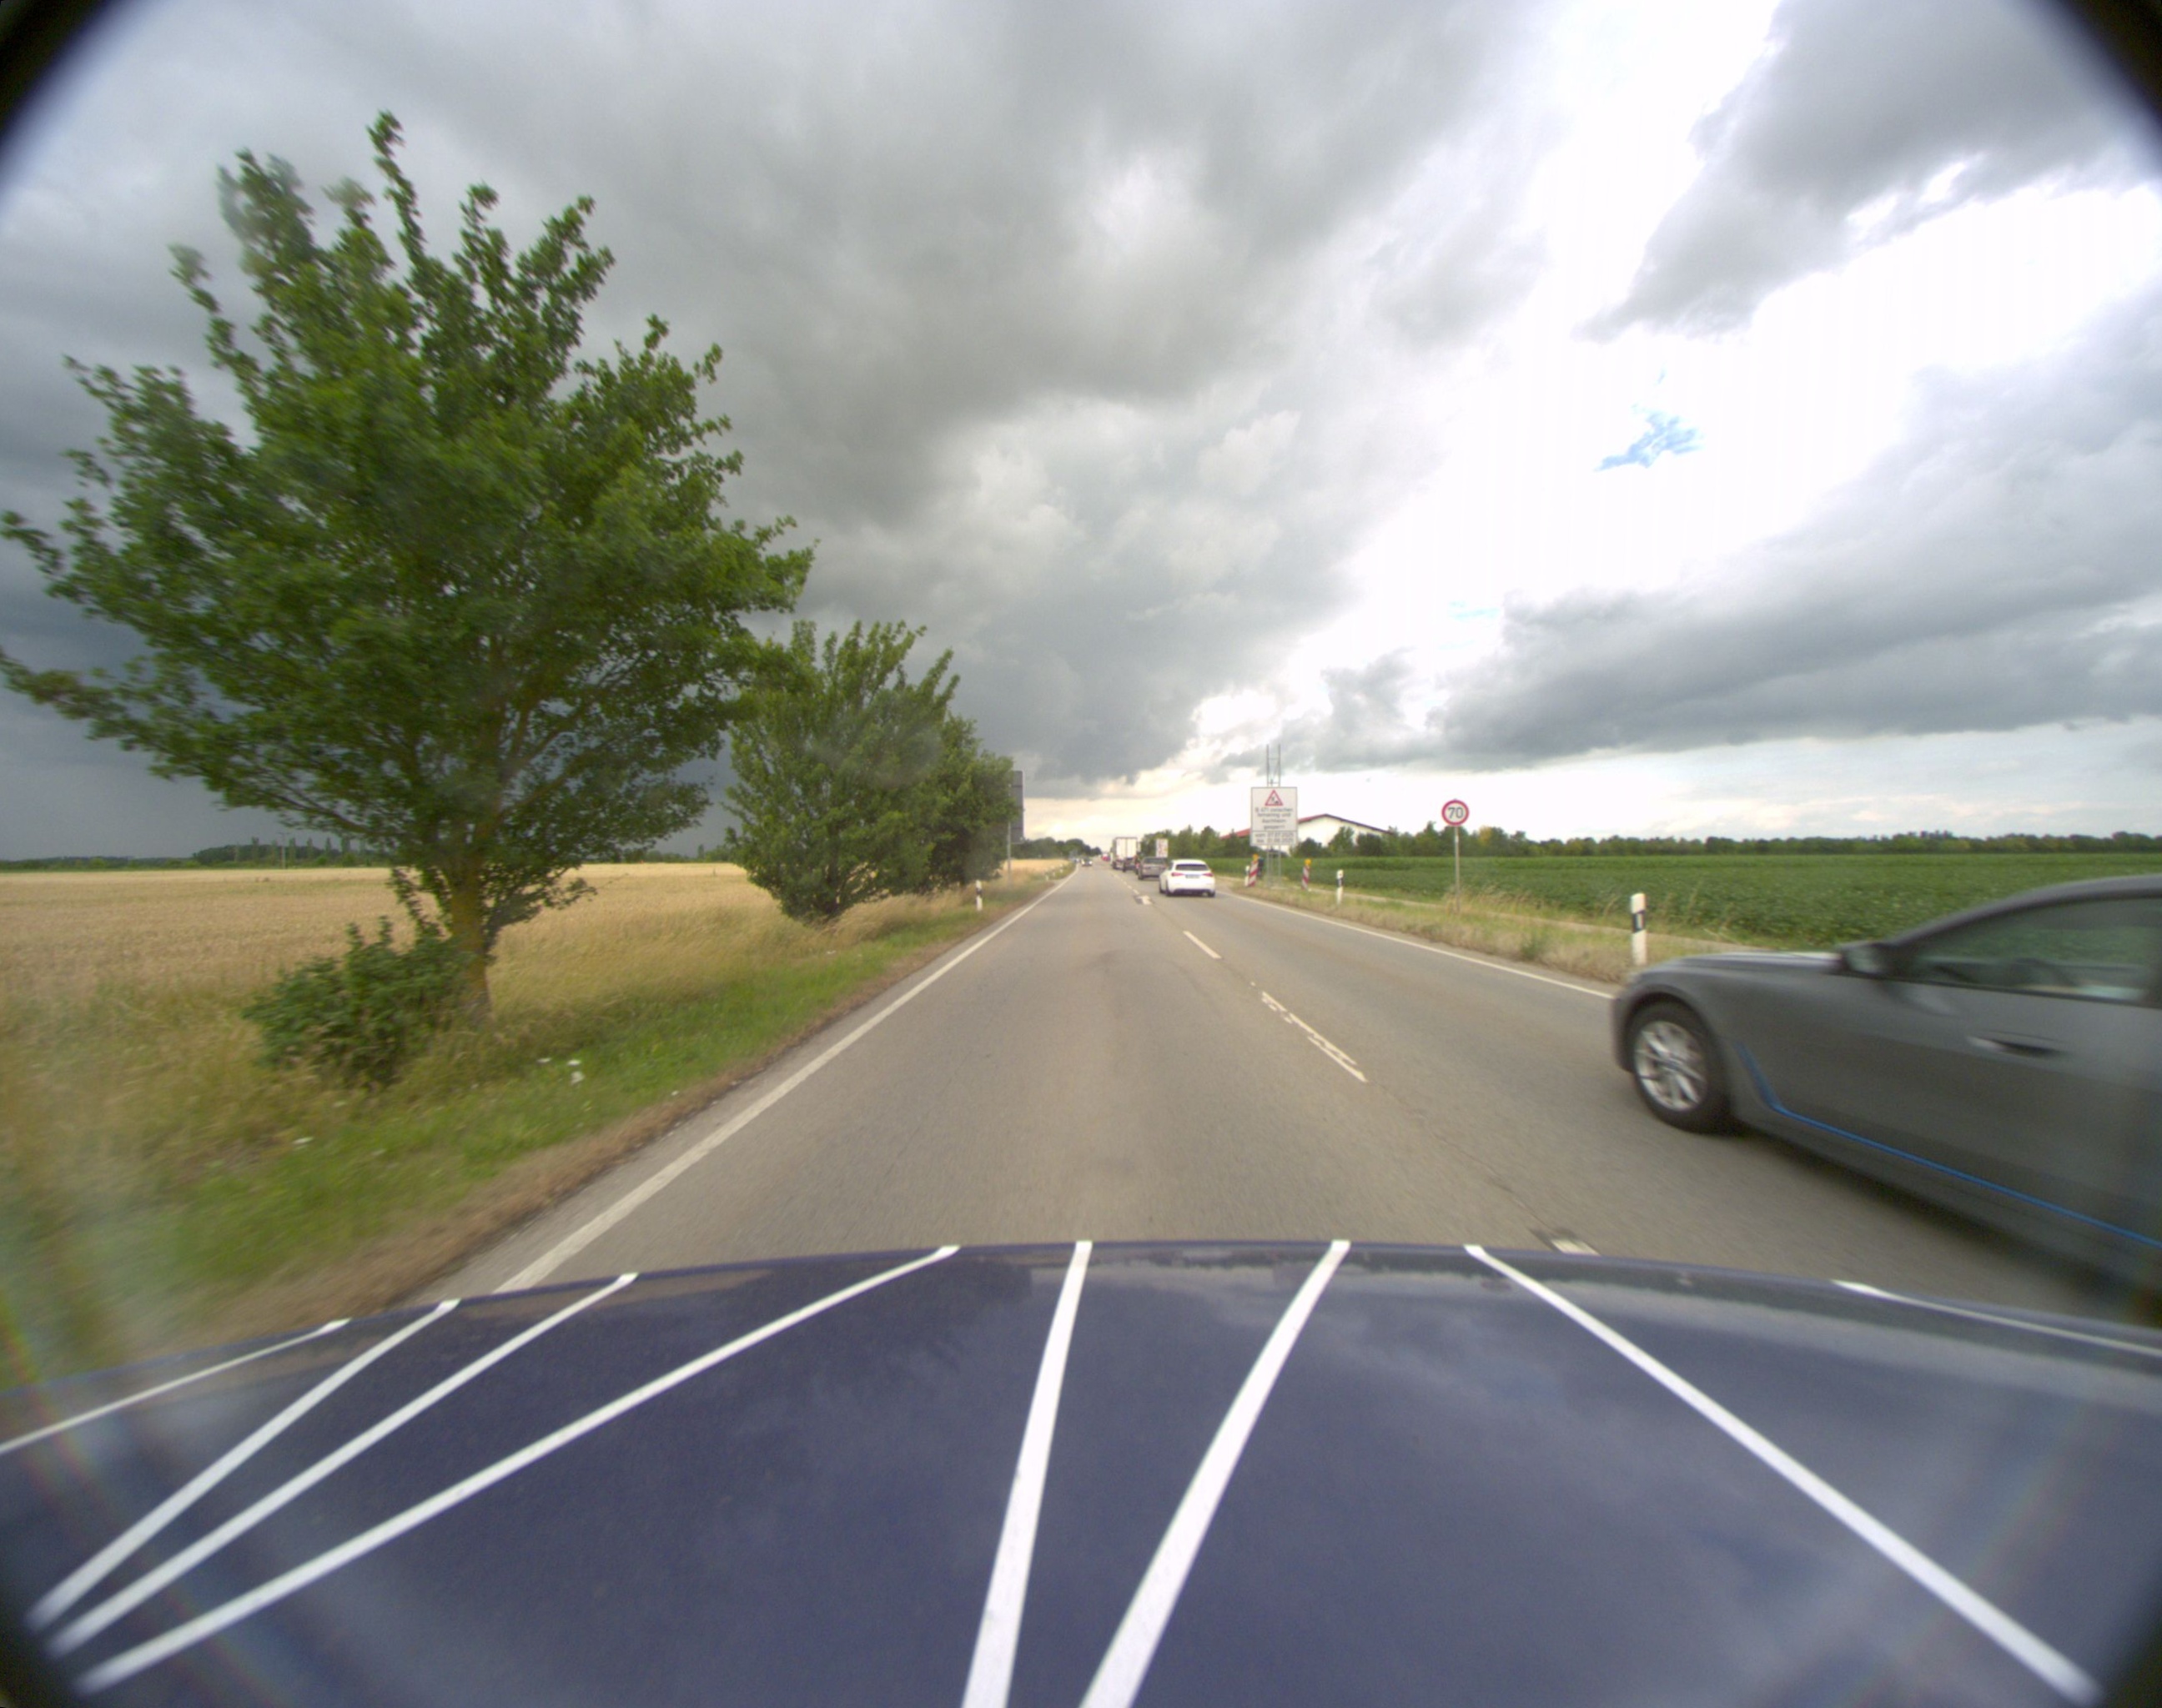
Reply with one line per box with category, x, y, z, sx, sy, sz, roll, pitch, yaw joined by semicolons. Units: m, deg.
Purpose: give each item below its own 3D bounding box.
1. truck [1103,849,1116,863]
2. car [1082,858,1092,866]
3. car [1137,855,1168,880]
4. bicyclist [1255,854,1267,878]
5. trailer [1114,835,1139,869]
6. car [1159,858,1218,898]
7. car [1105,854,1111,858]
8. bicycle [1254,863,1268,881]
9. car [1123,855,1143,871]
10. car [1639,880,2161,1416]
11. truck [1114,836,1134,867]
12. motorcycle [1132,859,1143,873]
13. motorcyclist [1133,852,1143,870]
truck;5.671;0.413;151.406;2.419;2.643;11.432;0;0;2
car;1.065;1.371;135.976;1.869;1.352;3.826;0;0;0
car;4.759;0.867;51.103;1.708;1.531;4.301;1;0;1
bicyclist;11.905;0.785;50.240;0.530;1.575;1.223;1;1;1
trailer;5.845;-0.313;99.363;2.640;4.096;13.767;0;0;1
car;4.147;0.897;29.907;1.777;1.365;4.100;1;0;1
car;8.826;0.748;244.982;1.869;1.352;3.826;0;0;1
bicycle;11.899;1.181;50.293;0.530;1.149;1.794;1;0;1
car;5.335;0.870;78.352;1.733;1.577;4.505;0;0;1
car;4.027;0.889;2.073;1.857;1.456;4.371;0;0;1
truck;5.973;-0.350;106.238;2.658;4.096;6.023;0;0;1
motorcycle;4.959;1.007;66.390;0.799;1.151;2.620;0;0;1
motorcyclist;4.966;0.629;66.345;0.799;1.564;1.078;0;1;1
